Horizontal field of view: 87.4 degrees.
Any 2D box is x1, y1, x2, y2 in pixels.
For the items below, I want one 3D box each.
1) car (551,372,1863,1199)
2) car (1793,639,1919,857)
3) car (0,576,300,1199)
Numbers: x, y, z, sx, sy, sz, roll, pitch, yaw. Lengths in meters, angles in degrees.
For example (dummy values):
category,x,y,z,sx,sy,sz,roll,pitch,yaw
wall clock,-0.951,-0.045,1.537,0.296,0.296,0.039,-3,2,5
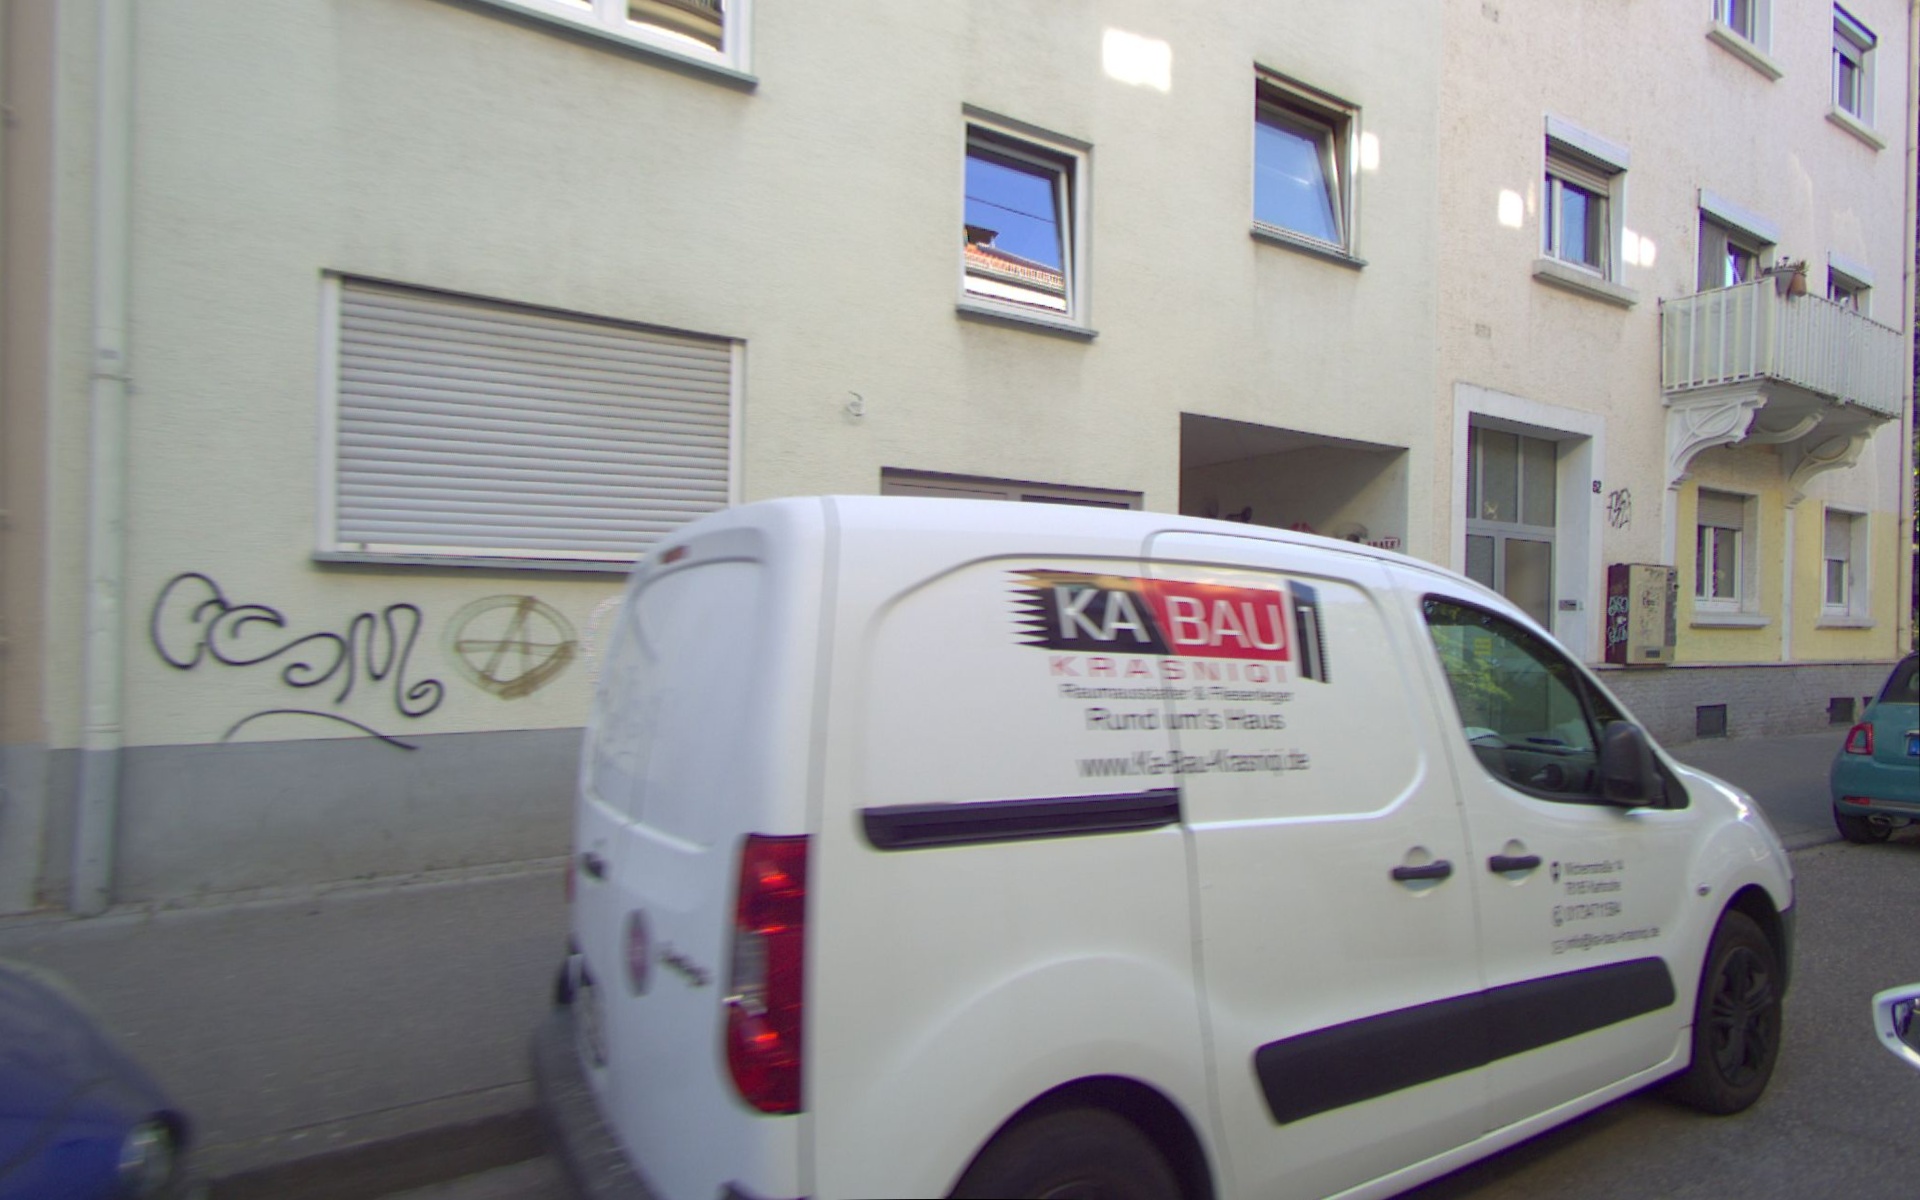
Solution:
category,x,y,z,sx,sy,sz,roll,pitch,yaw
car,0.971,0.649,3.200,3.993,1.809,1.756,1,-2,-31
car,8.306,1.049,7.668,3.771,1.489,1.664,1,-2,-28
car,-3.019,0.719,0.785,3.938,1.505,1.669,1,-2,-25
